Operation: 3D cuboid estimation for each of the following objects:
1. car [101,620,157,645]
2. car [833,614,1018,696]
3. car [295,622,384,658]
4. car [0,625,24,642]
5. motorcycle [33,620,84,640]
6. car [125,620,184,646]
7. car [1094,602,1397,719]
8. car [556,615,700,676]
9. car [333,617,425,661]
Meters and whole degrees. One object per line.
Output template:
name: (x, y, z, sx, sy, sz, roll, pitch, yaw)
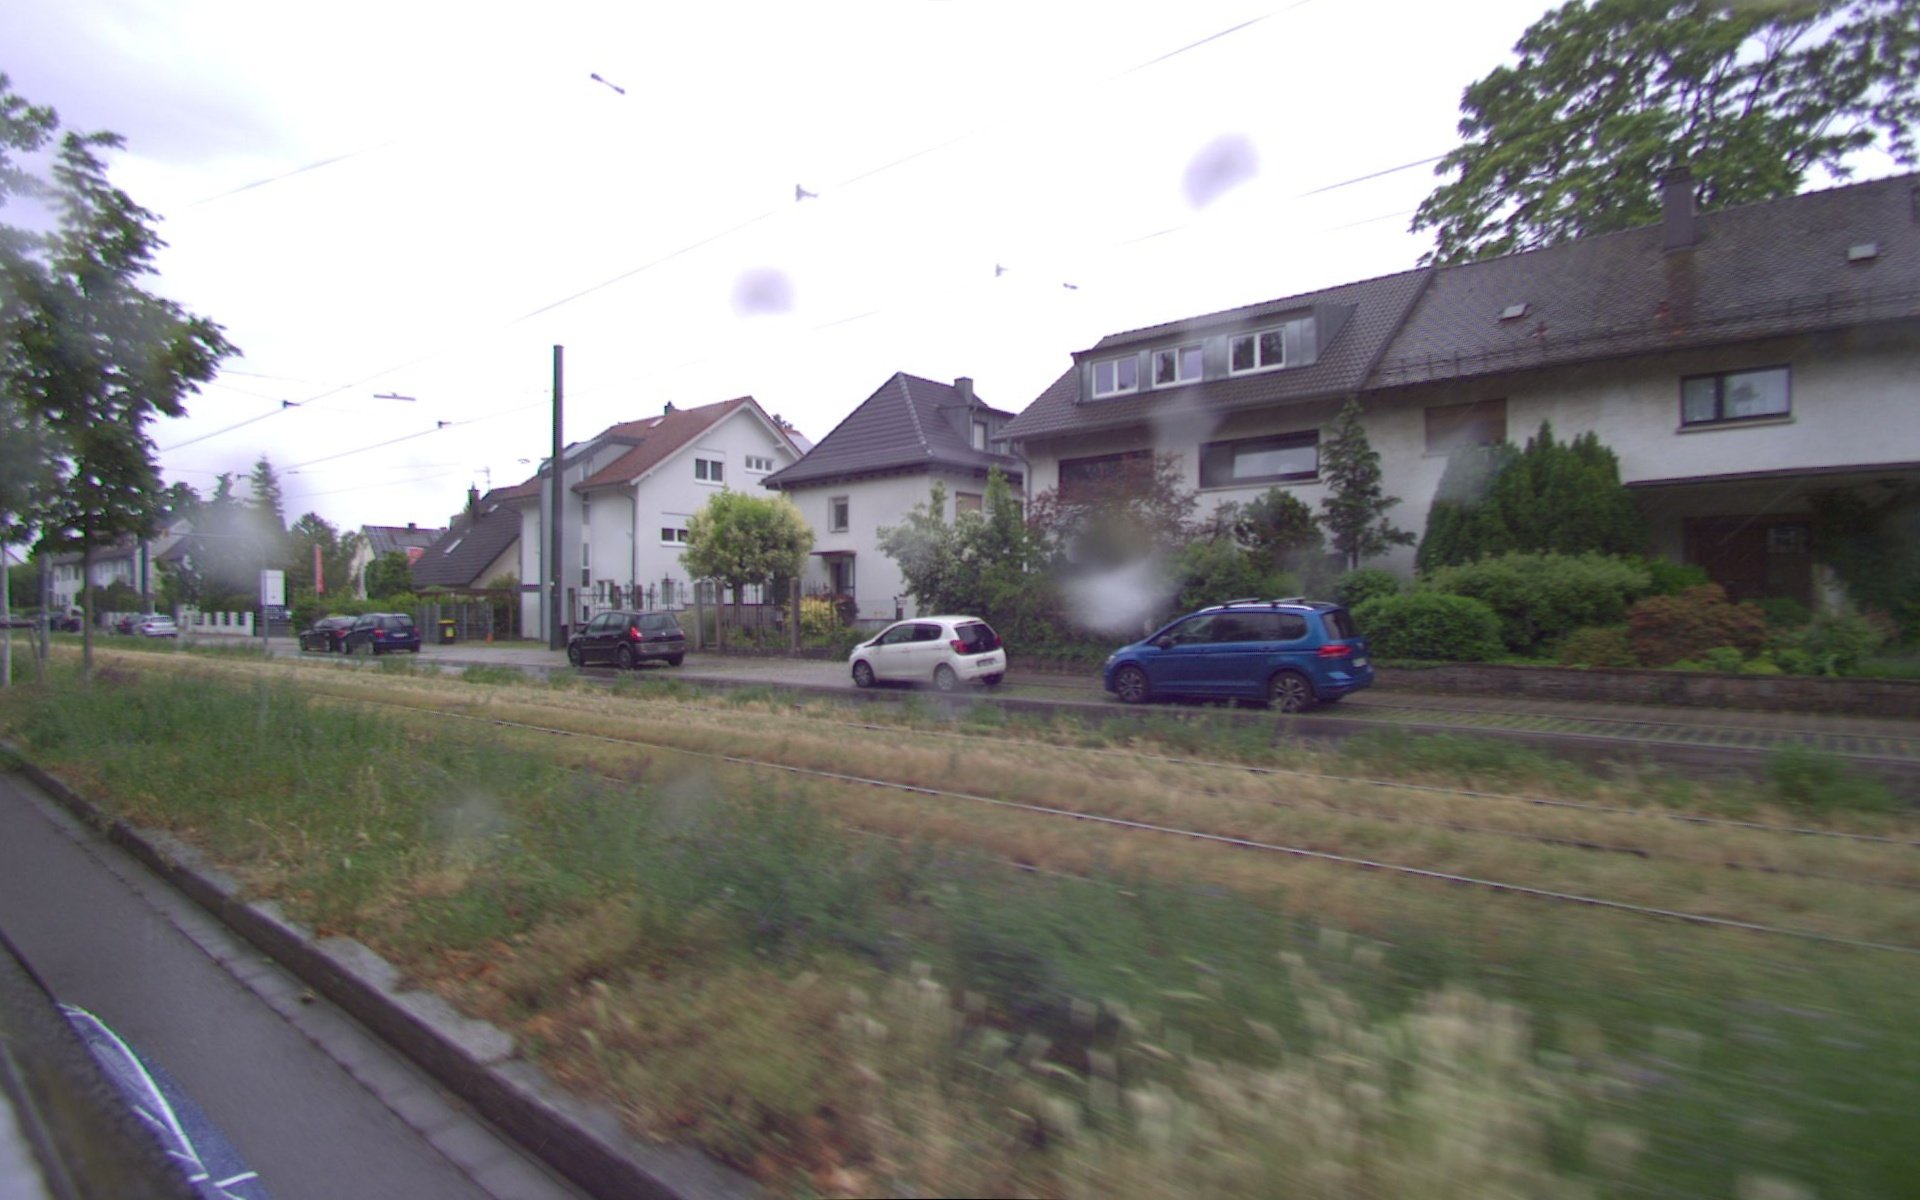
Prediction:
car: (-53.034, 2.049, 64.554, 4.528, 1.466, 1.973, -1, 0, 41)
car: (-0.759, 1.093, 21.184, 3.594, 1.500, 1.778, -1, 0, 41)
car: (-26.283, 1.679, 42.814, 4.237, 1.361, 1.973, -1, 0, 41)
car: (-86.709, 3.015, 91.893, 4.758, 1.421, 1.973, -1, 0, 41)
motorcycle: (-69.550, 2.328, 78.088, 2.644, 1.421, 1.269, -1, 1, -9)
car: (-48.849, 1.996, 61.354, 3.966, 1.421, 1.974, -2, 0, 39)
car: (4.640, 0.921, 16.804, 4.410, 1.626, 1.973, -1, 0, 40)
car: (-9.441, 1.258, 28.667, 4.202, 1.527, 1.973, -1, 0, 41)
car: (-22.898, 1.511, 39.822, 3.866, 1.562, 1.855, -2, 0, 39)
